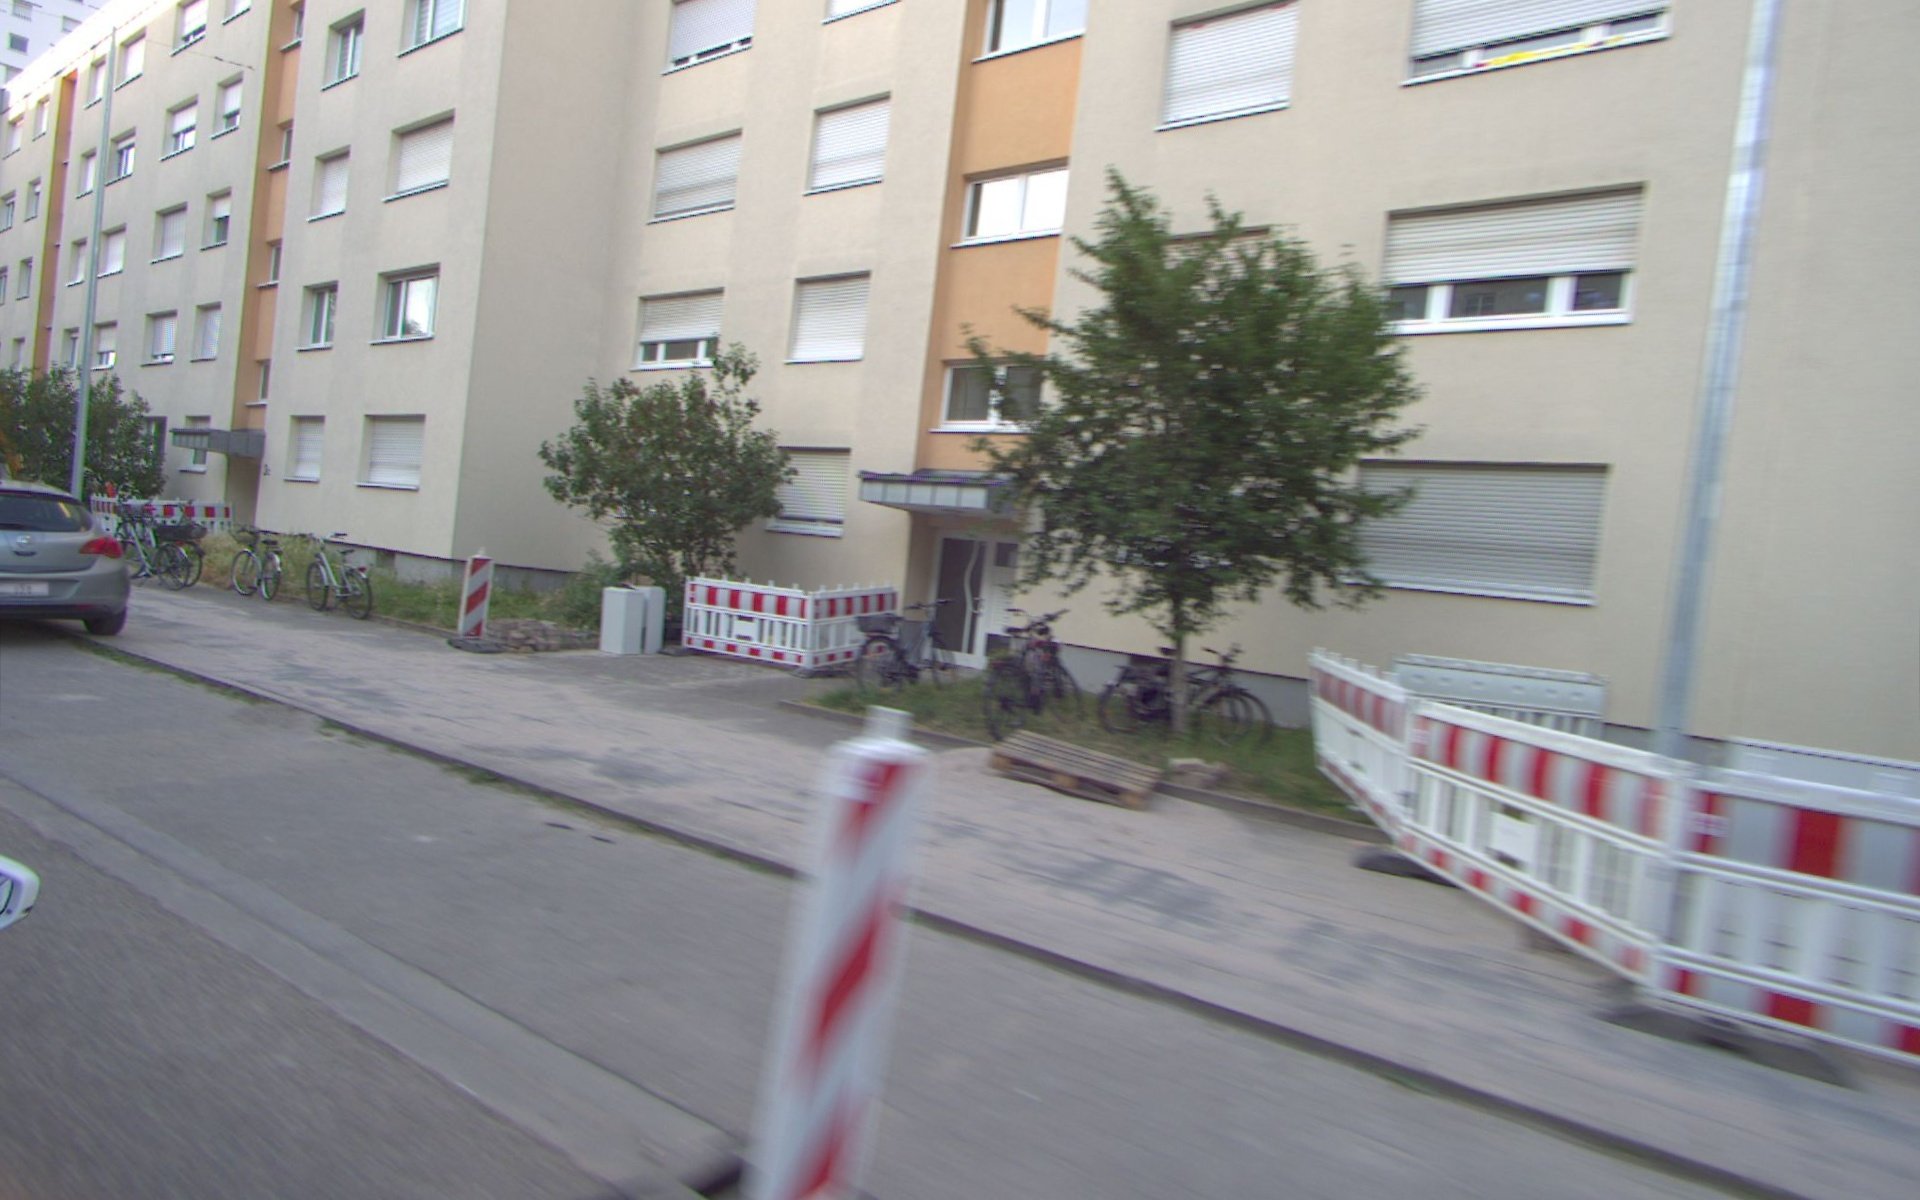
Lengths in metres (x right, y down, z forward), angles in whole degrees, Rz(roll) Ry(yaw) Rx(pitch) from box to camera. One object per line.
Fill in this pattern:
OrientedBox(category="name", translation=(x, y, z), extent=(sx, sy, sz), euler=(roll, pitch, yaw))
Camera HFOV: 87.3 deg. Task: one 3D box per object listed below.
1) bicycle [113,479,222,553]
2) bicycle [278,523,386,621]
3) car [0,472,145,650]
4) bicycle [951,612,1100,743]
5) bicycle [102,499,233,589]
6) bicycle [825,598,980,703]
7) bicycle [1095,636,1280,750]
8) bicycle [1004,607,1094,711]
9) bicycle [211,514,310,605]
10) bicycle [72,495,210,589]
OrientedBox(category="bicycle", translation=(-15.937, -1.670, 20.274), extent=(0.476, 1.237, 1.596), euler=(8, 0, 25))
OrientedBox(category="bicycle", translation=(-9.024, -0.416, 14.432), extent=(1.788, 1.186, 0.556), euler=(8, 1, 34))
OrientedBox(category="car", translation=(-10.245, -0.553, 10.190), extent=(4.498, 1.512, 1.775), euler=(7, 4, 33))
OrientedBox(category="bicycle", translation=(0.665, 0.683, 9.560), extent=(0.549, 1.037, 1.809), euler=(7, 5, 32))
OrientedBox(category="bicycle", translation=(-12.674, -0.888, 16.094), extent=(1.782, 1.186, 0.628), euler=(8, 1, 15))
OrientedBox(category="bicycle", translation=(-0.581, 0.498, 10.775), extent=(0.550, 1.001, 1.747), euler=(8, 6, 40))
OrientedBox(category="bicycle", translation=(2.129, 0.868, 9.553), extent=(1.584, 0.877, 0.557), euler=(4, 5, 4))
OrientedBox(category="bicycle", translation=(0.982, 0.637, 11.557), extent=(0.548, 0.934, 1.811), euler=(3, 4, -9))
OrientedBox(category="bicycle", translation=(-10.750, -0.632, 15.448), extent=(1.788, 1.186, 0.556), euler=(8, 1, 34))
OrientedBox(category="bicycle", translation=(-12.523, -0.884, 15.391), extent=(1.782, 1.186, 0.558), euler=(8, 1, 12))
